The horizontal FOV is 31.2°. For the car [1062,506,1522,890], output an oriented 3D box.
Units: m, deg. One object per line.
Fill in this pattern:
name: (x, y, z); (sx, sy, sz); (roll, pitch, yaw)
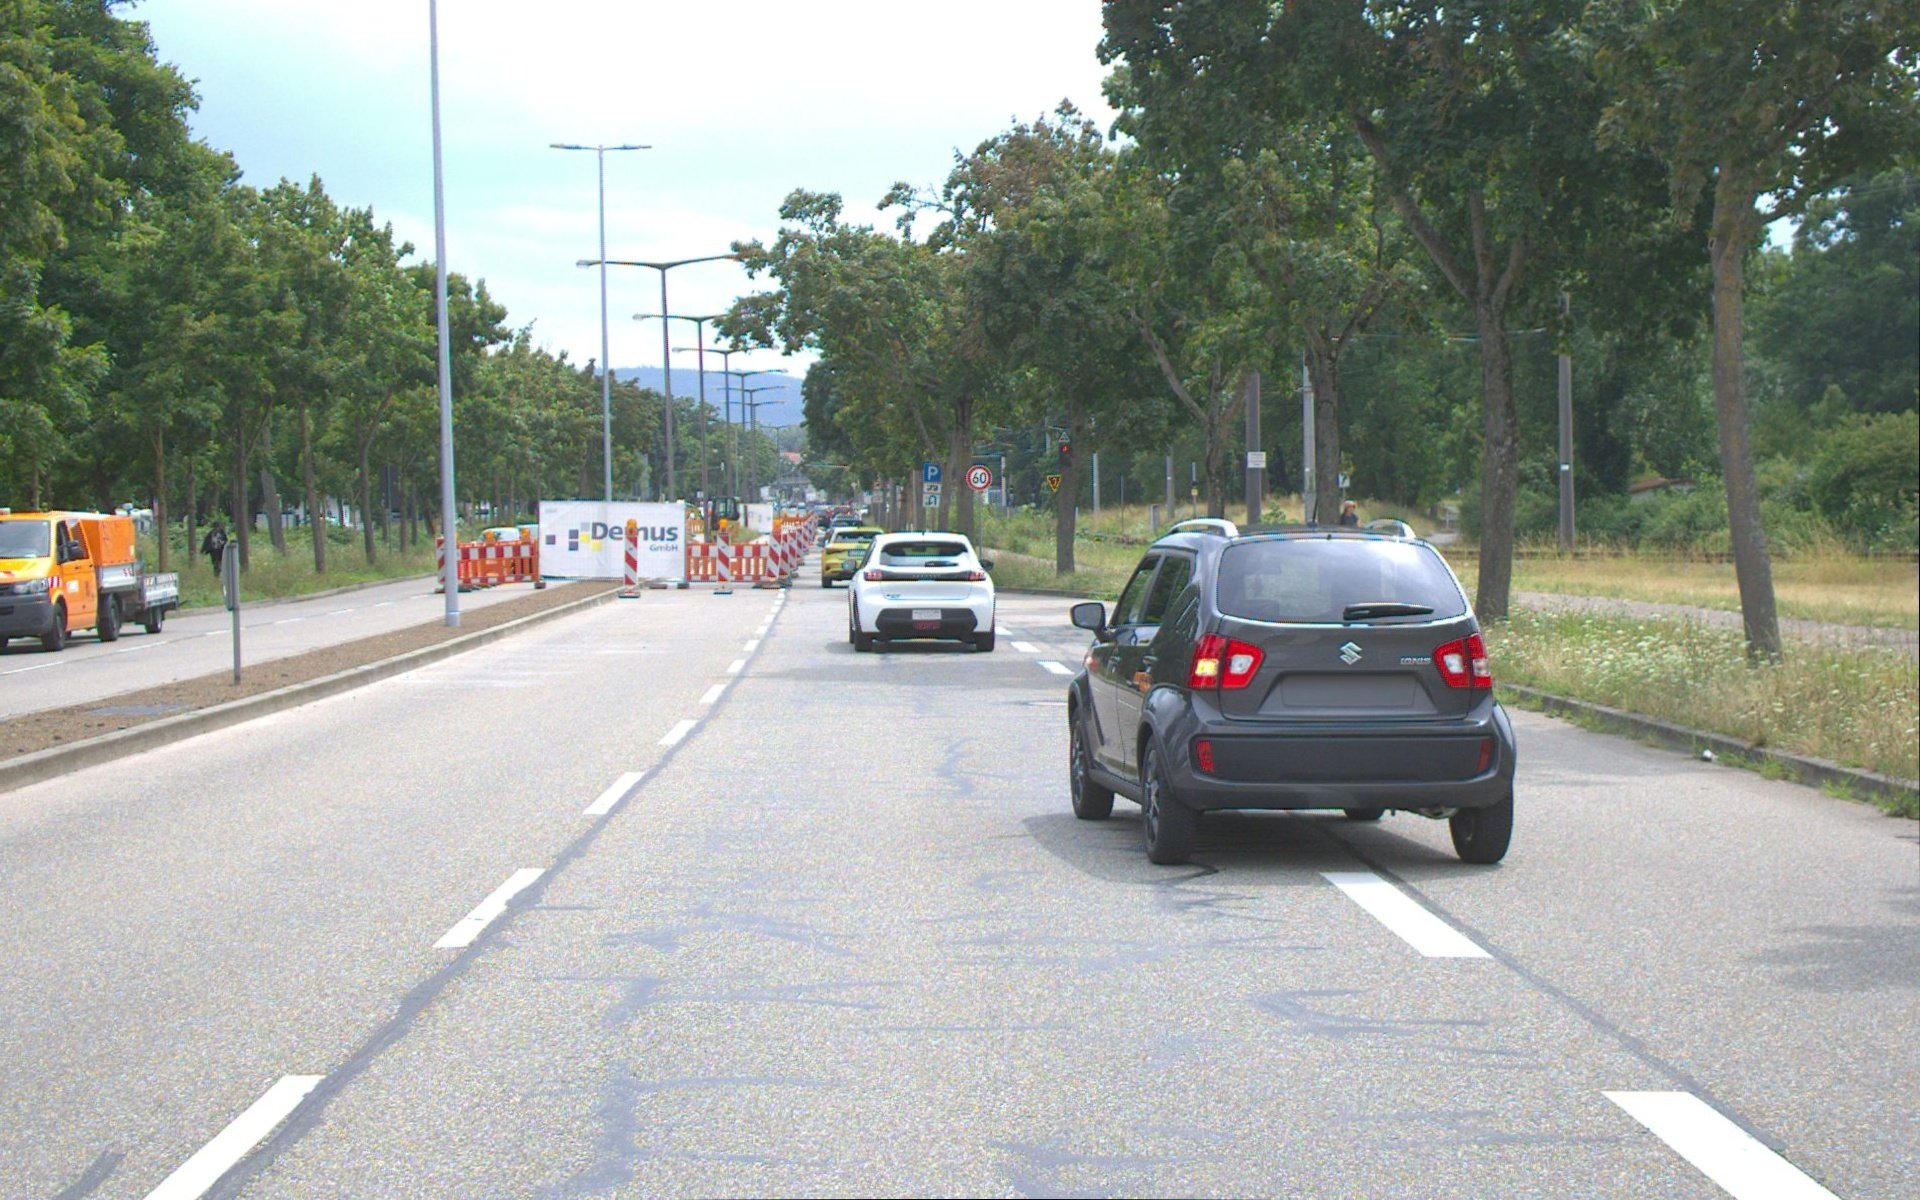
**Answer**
car: (1.517, 0.373, 17.053); (1.703, 1.662, 4.001); (0, 2, -3)

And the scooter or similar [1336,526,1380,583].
scooter or similar: (7.954, -0.910, 68.773); (0.681, 1.126, 0.934); (-1, 2, -6)

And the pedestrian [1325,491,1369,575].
pedestrian: (7.846, -1.370, 69.697); (0.690, 1.689, 0.934); (-1, 2, -6)

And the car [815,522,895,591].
car: (-2.481, -1.055, 82.239); (1.793, 1.556, 4.000); (-1, 2, 0)

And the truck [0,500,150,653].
truck: (-13.215, -0.373, 48.606); (2.088, 1.987, 6.040); (-2, 2, -1)

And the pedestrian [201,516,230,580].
pedestrian: (-21.596, -1.510, 99.719); (0.690, 1.832, 0.651); (-1, 2, -23)

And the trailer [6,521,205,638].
trailer: (-13.232, -0.340, 53.470); (2.062, 1.684, 3.895); (-2, 1, 0)

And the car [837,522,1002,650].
car: (-0.554, -0.210, 42.920); (1.766, 1.459, 4.001); (-1, 2, -5)
